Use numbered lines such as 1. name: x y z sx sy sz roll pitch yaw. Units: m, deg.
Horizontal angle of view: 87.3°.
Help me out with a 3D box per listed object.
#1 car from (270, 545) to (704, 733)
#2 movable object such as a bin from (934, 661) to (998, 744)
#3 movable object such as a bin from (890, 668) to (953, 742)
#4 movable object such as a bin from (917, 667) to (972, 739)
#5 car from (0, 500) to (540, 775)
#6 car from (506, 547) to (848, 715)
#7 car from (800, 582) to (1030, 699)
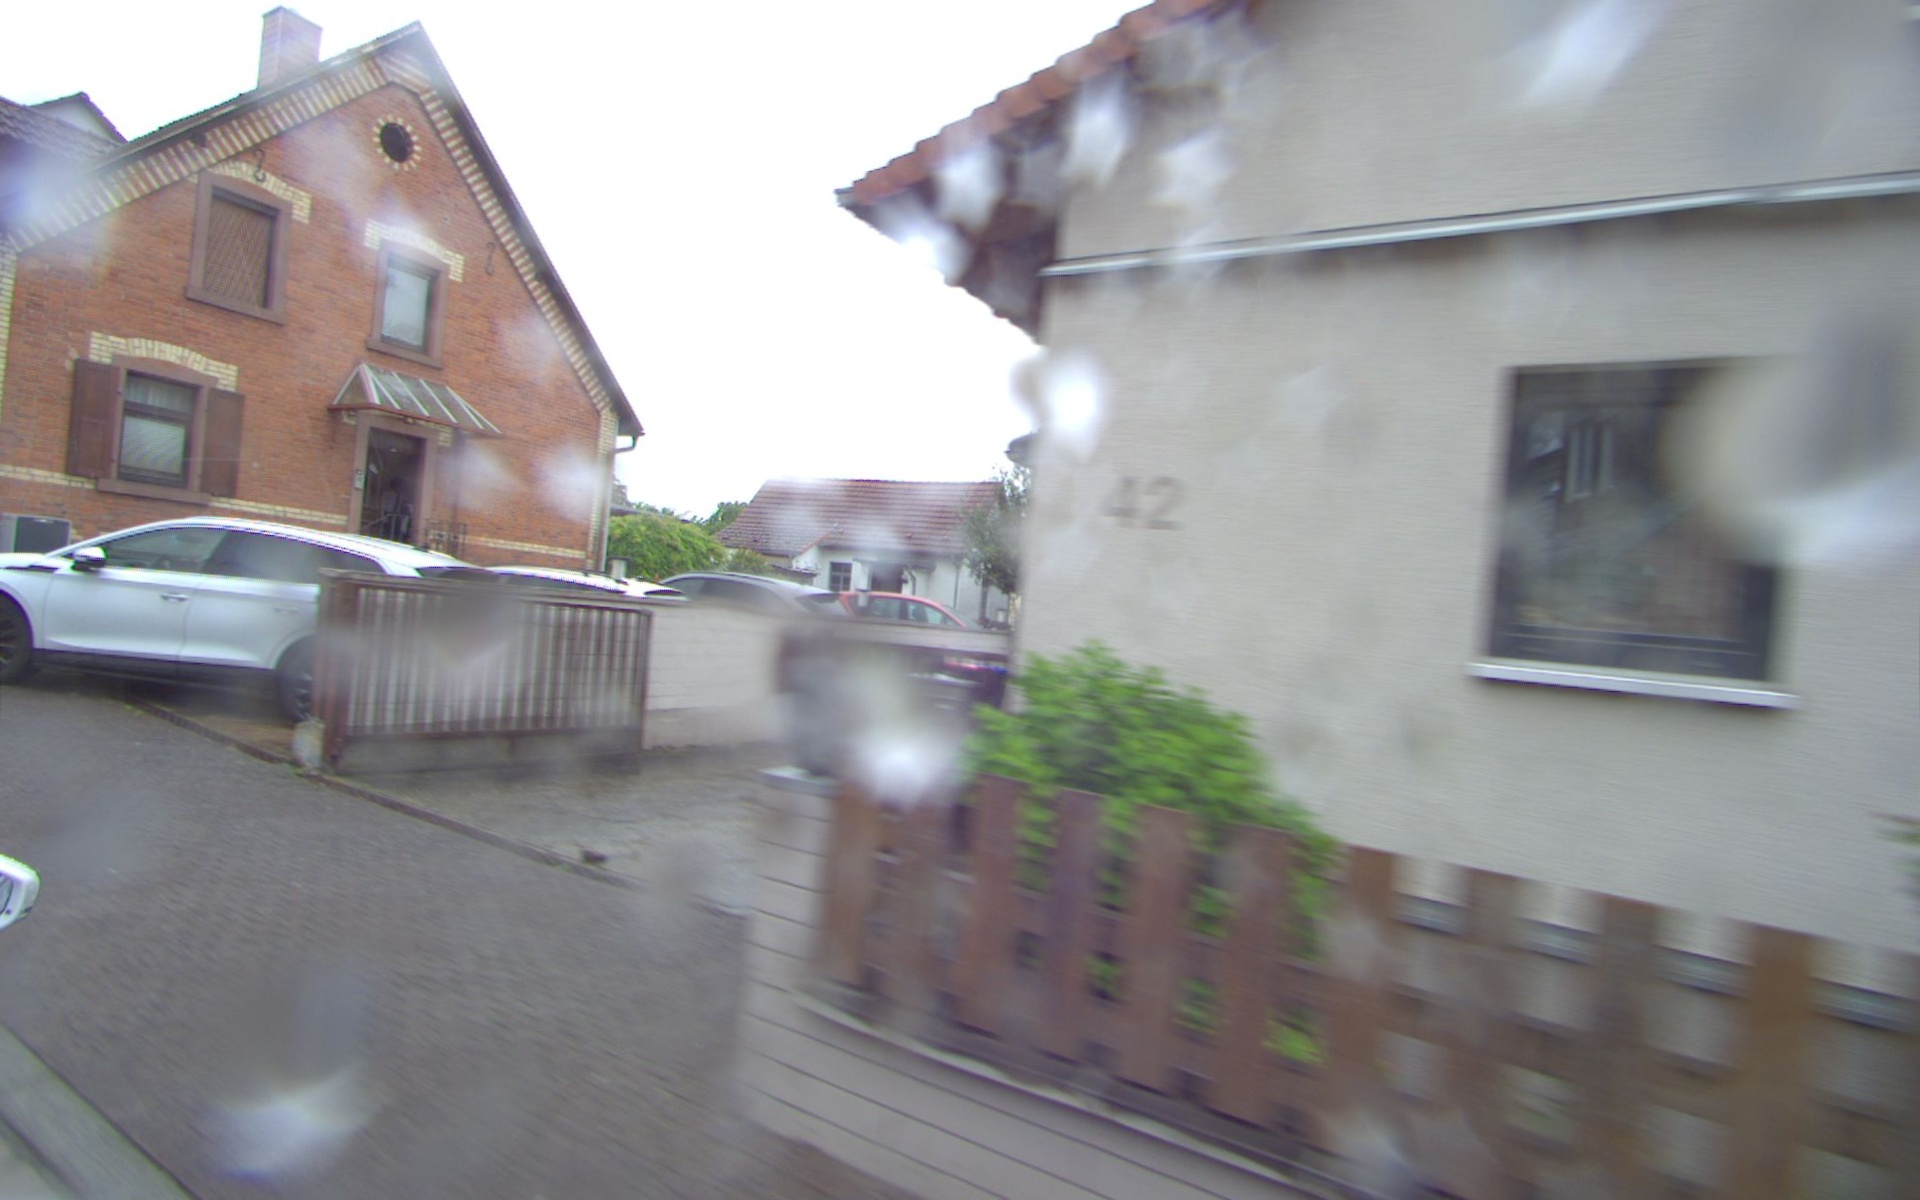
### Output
1. car: -5.519 0.430 12.063 4.211 1.535 1.877 7 0 6
2. movable object such as a bin: 0.090 1.449 14.340 0.633 1.072 0.522 7 0 28
3. movable object such as a bin: -0.511 1.404 13.516 0.530 0.909 0.557 7 0 29
4. movable object such as a bin: -0.211 1.423 13.935 0.530 0.909 0.420 7 0 29
5. car: -6.445 0.255 8.850 4.536 1.608 1.877 9 -1 -1
6. car: -3.910 0.371 14.221 4.140 1.698 1.809 7 3 9
7. car: -0.811 0.773 19.435 3.989 1.665 1.812 7 -1 10
